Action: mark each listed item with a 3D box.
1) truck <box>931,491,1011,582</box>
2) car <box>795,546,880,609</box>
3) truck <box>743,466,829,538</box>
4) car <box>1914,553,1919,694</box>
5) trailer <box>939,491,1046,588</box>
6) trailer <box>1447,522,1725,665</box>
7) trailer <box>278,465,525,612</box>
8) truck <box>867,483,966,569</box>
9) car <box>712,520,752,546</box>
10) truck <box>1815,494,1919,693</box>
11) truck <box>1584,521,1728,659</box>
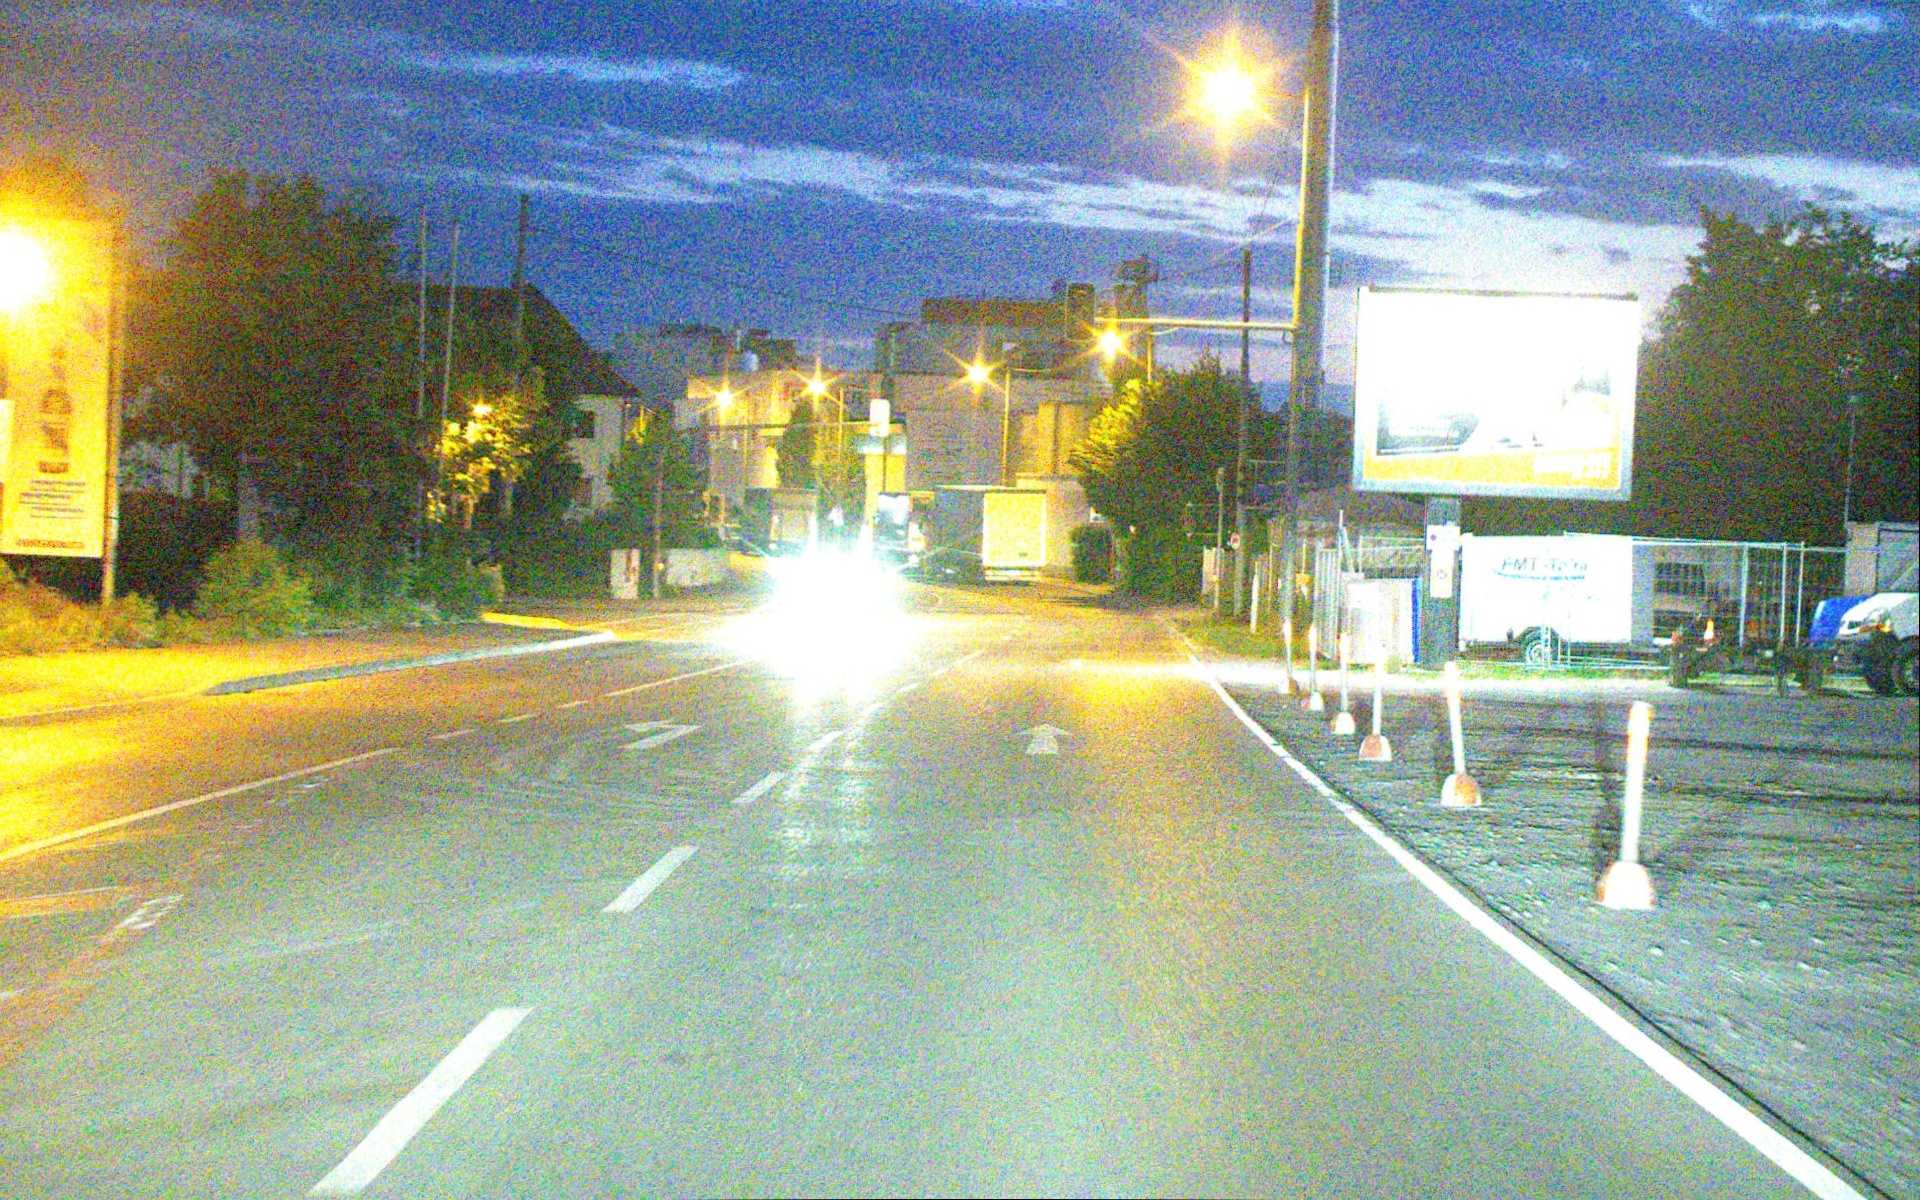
[{"bbox_3d":[0.459,-2.888,154.312,2.829,3.969,6.052,1,2,-7],"label":"truck"},{"bbox_3d":[-3.347,-0.636,94.674,1.993,1.621,4.752,2,1,1],"label":"car"},{"bbox_3d":[-10.045,-5.612,197.253,3.519,3.969,10.346,0,2,-10],"label":"truck"},{"bbox_3d":[14.966,0.408,43.804,5.074,1.830,1.989,2,1,5],"label":"car"},{"bbox_3d":[1.300,-2.679,147.664,2.808,3.969,13.978,1,2,-7],"label":"trailer"},{"bbox_3d":[9.310,-0.128,51.127,3.752,2.007,1.612,1,2,25],"label":"trailer"},{"bbox_3d":[-10.641,-1.188,65.722,4.348,2.710,2.000,1,1,2],"label":"trailer"},{"bbox_3d":[-2.133,-3.564,164.539,2.829,3.969,10.346,0,2,-11],"label":"truck"},{"bbox_3d":[-14.067,-4.151,212.137,1.852,1.514,3.819,0,2,-14],"label":"car"},{"bbox_3d":[14.648,-0.014,46.405,5.530,2.591,2.472,2,1,1],"label":"truck"},{"bbox_3d":[14.997,-0.244,74.477,2.184,2.739,7.314,3,1,6],"label":"truck"}]
